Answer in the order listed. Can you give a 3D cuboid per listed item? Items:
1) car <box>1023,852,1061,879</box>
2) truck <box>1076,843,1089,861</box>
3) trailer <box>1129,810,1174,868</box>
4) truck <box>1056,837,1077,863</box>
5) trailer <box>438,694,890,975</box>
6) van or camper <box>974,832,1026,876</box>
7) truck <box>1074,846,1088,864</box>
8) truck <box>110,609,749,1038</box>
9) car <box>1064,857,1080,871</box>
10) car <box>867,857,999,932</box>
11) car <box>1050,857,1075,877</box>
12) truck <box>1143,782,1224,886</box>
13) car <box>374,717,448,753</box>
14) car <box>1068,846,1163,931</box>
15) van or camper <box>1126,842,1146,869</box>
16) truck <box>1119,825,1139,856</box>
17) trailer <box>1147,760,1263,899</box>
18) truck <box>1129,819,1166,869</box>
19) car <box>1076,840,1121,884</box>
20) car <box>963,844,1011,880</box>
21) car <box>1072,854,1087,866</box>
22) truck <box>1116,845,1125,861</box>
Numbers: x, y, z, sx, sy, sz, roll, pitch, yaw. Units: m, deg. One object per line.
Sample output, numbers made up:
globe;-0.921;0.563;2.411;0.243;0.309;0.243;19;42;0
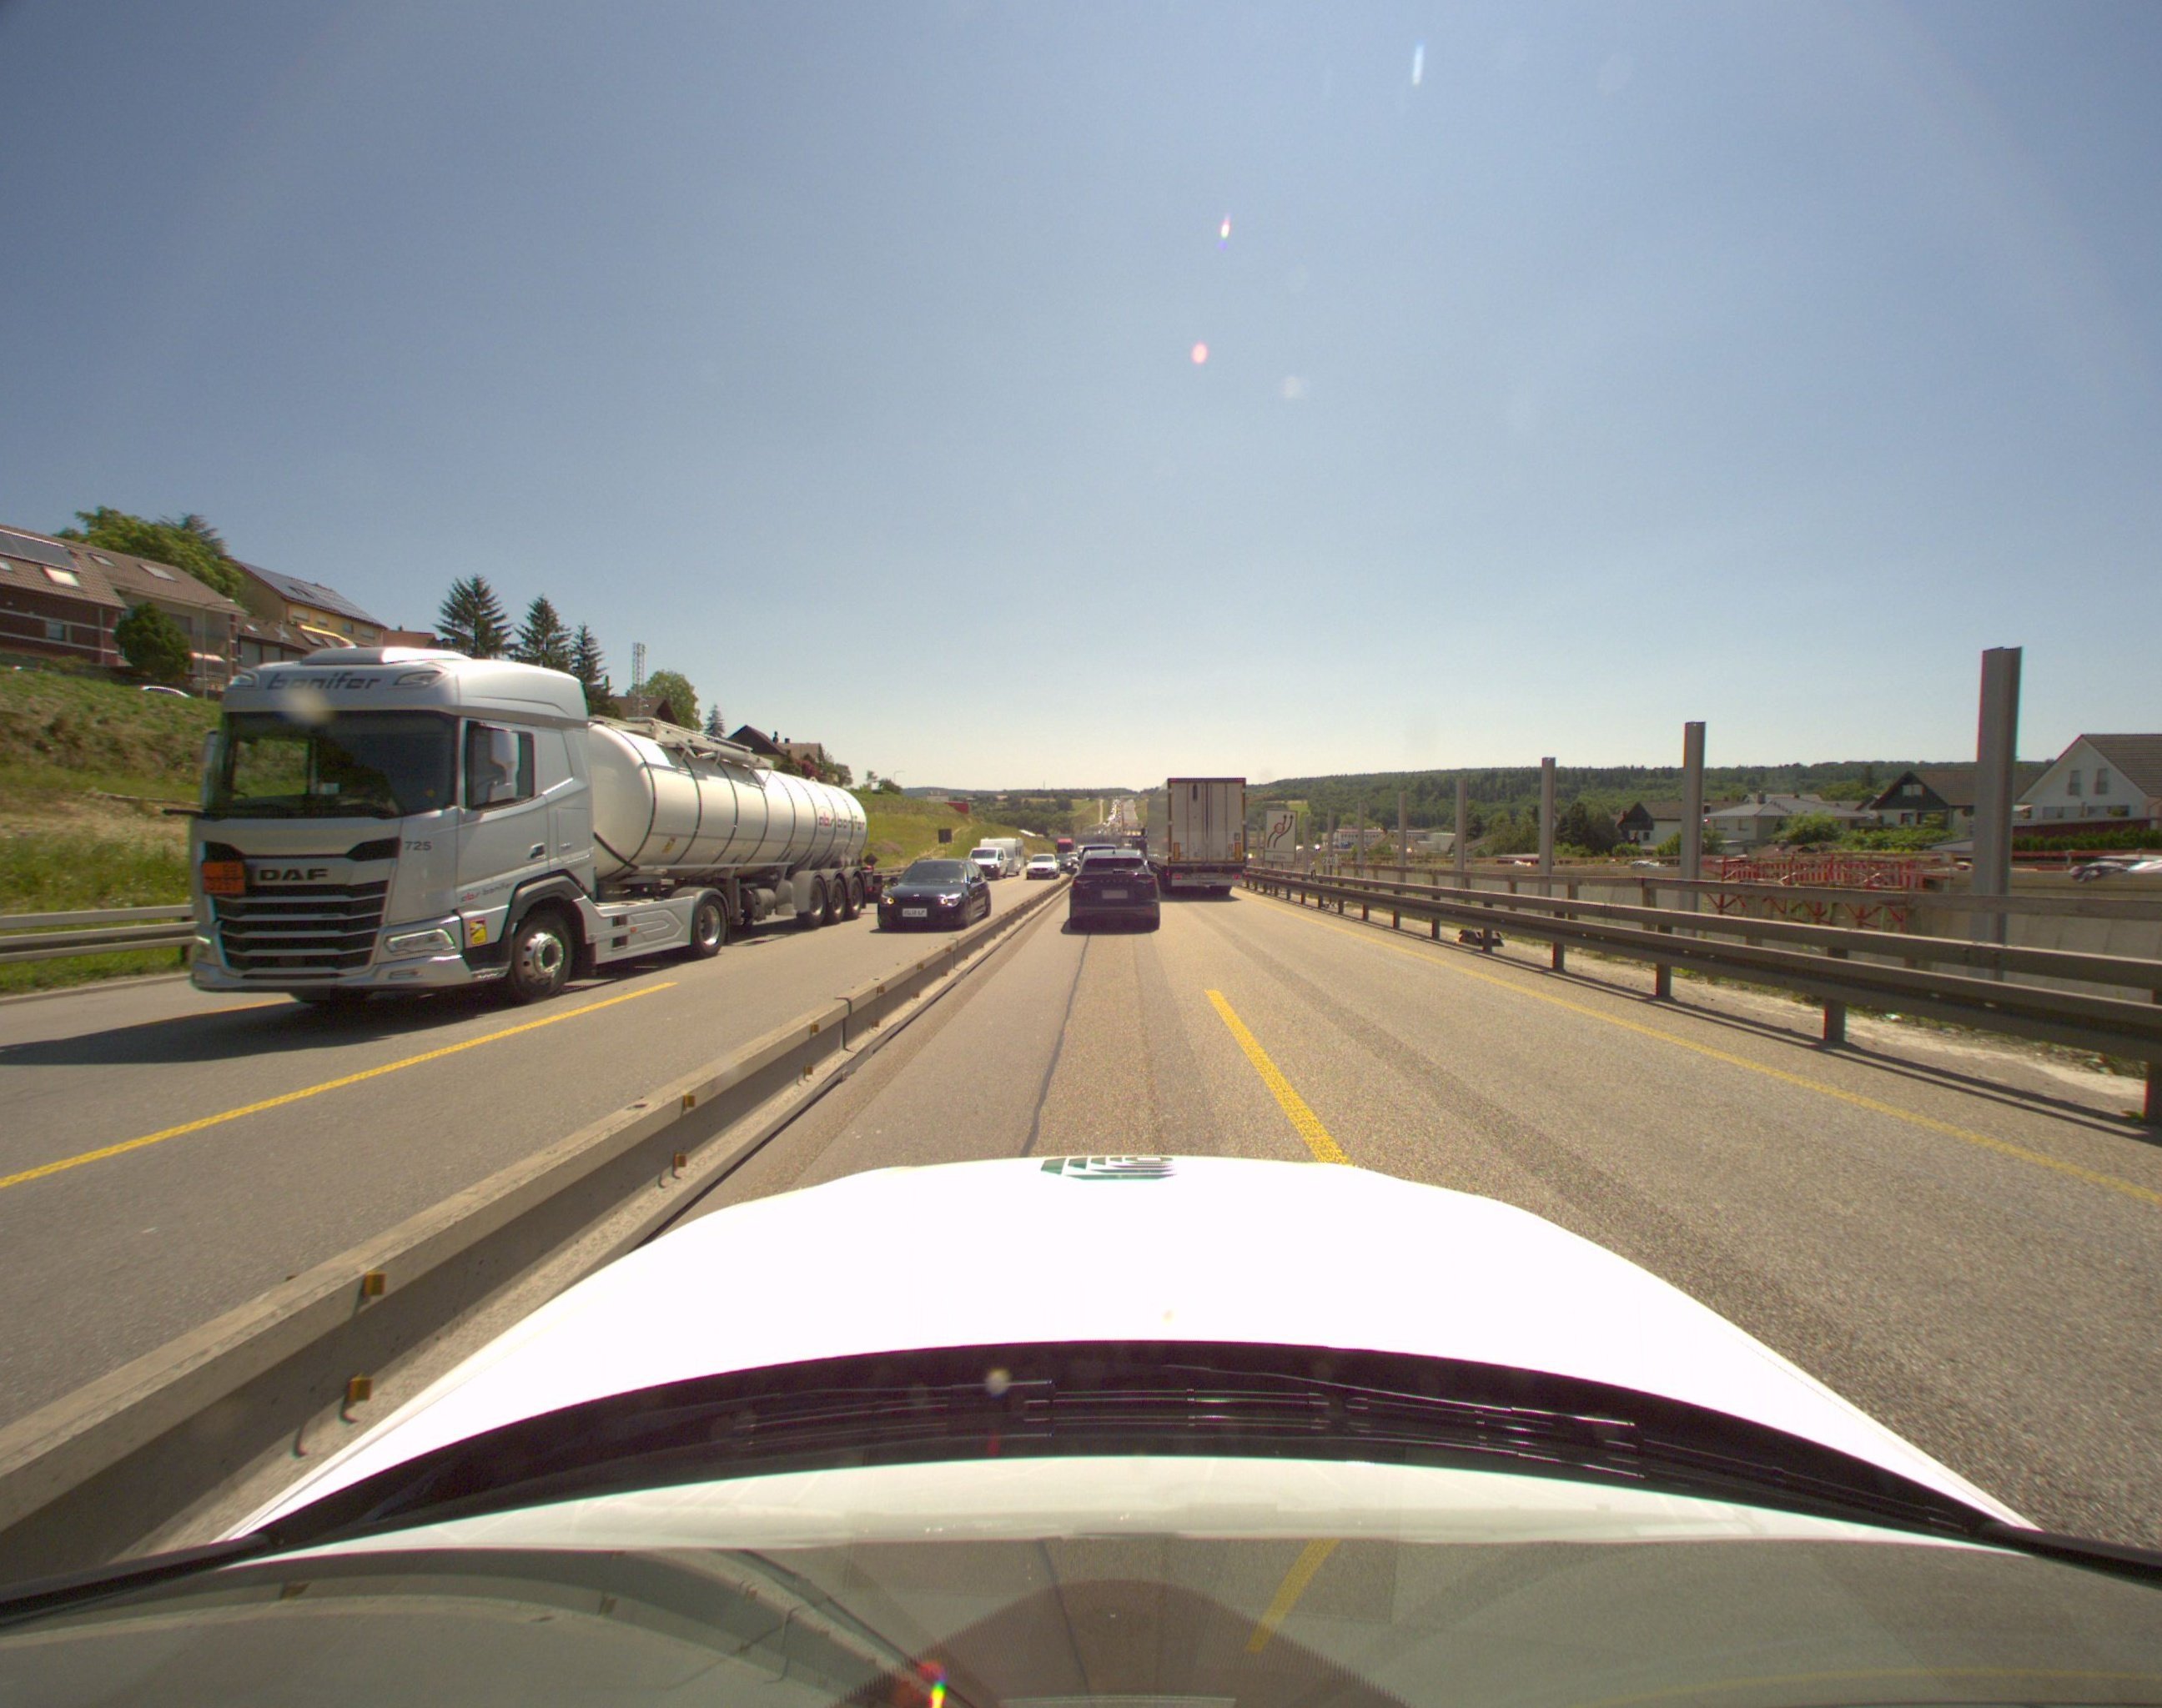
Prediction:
car;-2.247;0.649;47.995;1.905;1.480;4.638;-1;0;1
truck;0.394;-0.346;209.558;2.842;4.338;11.920;0;-1;2
trailer;6.009;-1.033;71.456;3.168;4.513;14.972;0;-1;2
truck;-2.342;-0.564;134.651;2.842;4.140;11.920;0;-1;2
trailer;-6.740;-0.260;16.352;2.706;3.594;11.798;0;0;2
van or camper;-5.214;-0.015;53.912;2.348;2.676;7.861;-1;0;2
truck;0.008;0.314;186.239;2.842;3.782;11.920;0;-1;2
truck;-6.893;-0.269;10.144;2.769;3.672;6.279;0;0;1
car;-1.055;1.120;94.177;1.786;1.518;3.998;-1;0;0
car;-3.149;0.800;18.314;1.887;1.414;4.682;-1;0;3
car;-1.342;0.941;59.647;1.660;1.413;3.818;0;0;1
truck;4.781;-0.893;39.607;3.168;4.513;8.170;0;0;2
car;-50.631;-8.940;61.659;1.983;2.014;4.008;0;-1;7
car;0.752;0.681;17.561;1.795;1.607;4.002;0;-1;3
van or camper;6.864;0.267;101.776;2.378;3.281;6.475;-1;-1;4
truck;7.463;-2.002;128.354;2.842;4.465;11.920;0;-1;2
trailer;4.561;-0.848;33.126;3.168;4.513;13.115;0;0;2
truck;6.285;-0.870;78.425;3.168;4.513;8.168;0;-1;2
car;0.854;0.408;38.402;1.986;1.926;4.509;0;-1;2
car;-5.385;0.440;47.322;1.986;1.971;5.346;-1;0;2
car;-0.177;0.849;115.668;1.986;1.530;4.001;-1;0;1
truck;11.277;-0.215;232.413;2.629;4.194;9.288;0;-1;2
